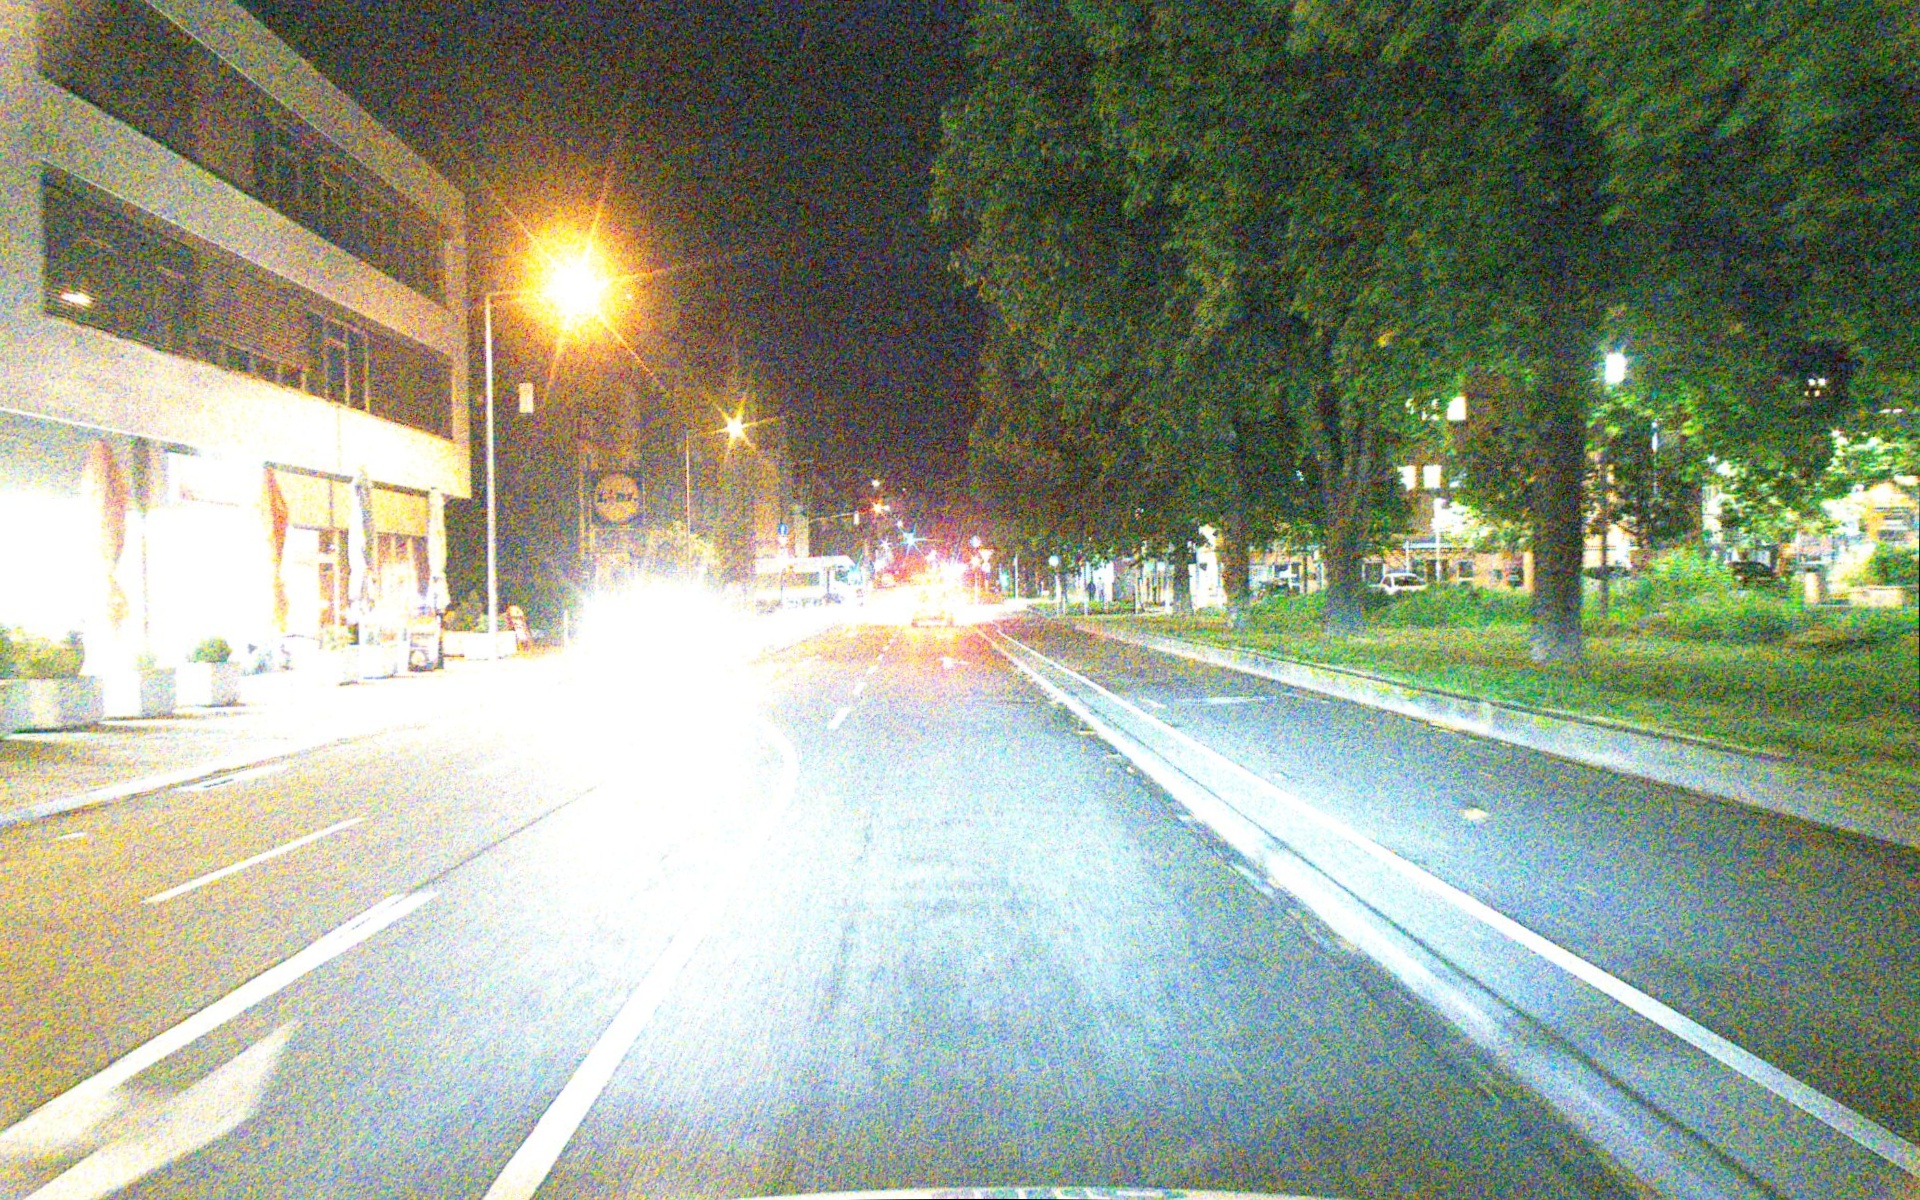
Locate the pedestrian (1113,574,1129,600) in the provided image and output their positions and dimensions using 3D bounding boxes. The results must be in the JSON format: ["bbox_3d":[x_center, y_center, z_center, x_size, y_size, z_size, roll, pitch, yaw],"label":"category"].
[{"bbox_3d":[11.210,-0.902,115.282,0.883,1.799,0.906,-2,0,-4],"label":"pedestrian"}]

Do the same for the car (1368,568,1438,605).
[{"bbox_3d":[20.289,-0.619,75.867,1.748,1.560,3.995,-2,1,-6],"label":"car"}]

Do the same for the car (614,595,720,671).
[{"bbox_3d":[-6.291,0.664,35.880,1.633,1.453,3.998,-3,0,-2],"label":"car"}]

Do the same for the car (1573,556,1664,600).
[{"bbox_3d":[25.095,-0.815,63.126,1.732,1.560,4.097,-2,1,-1],"label":"car"}]

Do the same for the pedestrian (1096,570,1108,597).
[{"bbox_3d":[9.891,-1.158,115.157,0.724,1.799,0.907,-2,0,-2],"label":"pedestrian"}]

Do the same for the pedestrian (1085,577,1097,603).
[{"bbox_3d":[9.101,-0.717,115.125,0.699,1.799,0.907,-2,0,-2],"label":"pedestrian"}]

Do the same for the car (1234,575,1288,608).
[{"bbox_3d":[13.704,-0.383,75.549,1.482,1.419,4.480,-2,0,-2],"label":"car"}]

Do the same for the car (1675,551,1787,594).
[{"bbox_3d":[29.796,-1.034,64.087,1.851,1.539,4.890,-2,1,-3],"label":"car"}]

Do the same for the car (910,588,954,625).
[{"bbox_3d":[-1.177,0.246,70.227,1.768,1.520,4.729,0,0,-1],"label":"car"}]

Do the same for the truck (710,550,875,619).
[{"bbox_3d":[-10.564,-0.957,104.402,9.866,3.782,2.767,-3,0,15],"label":"truck"}]
